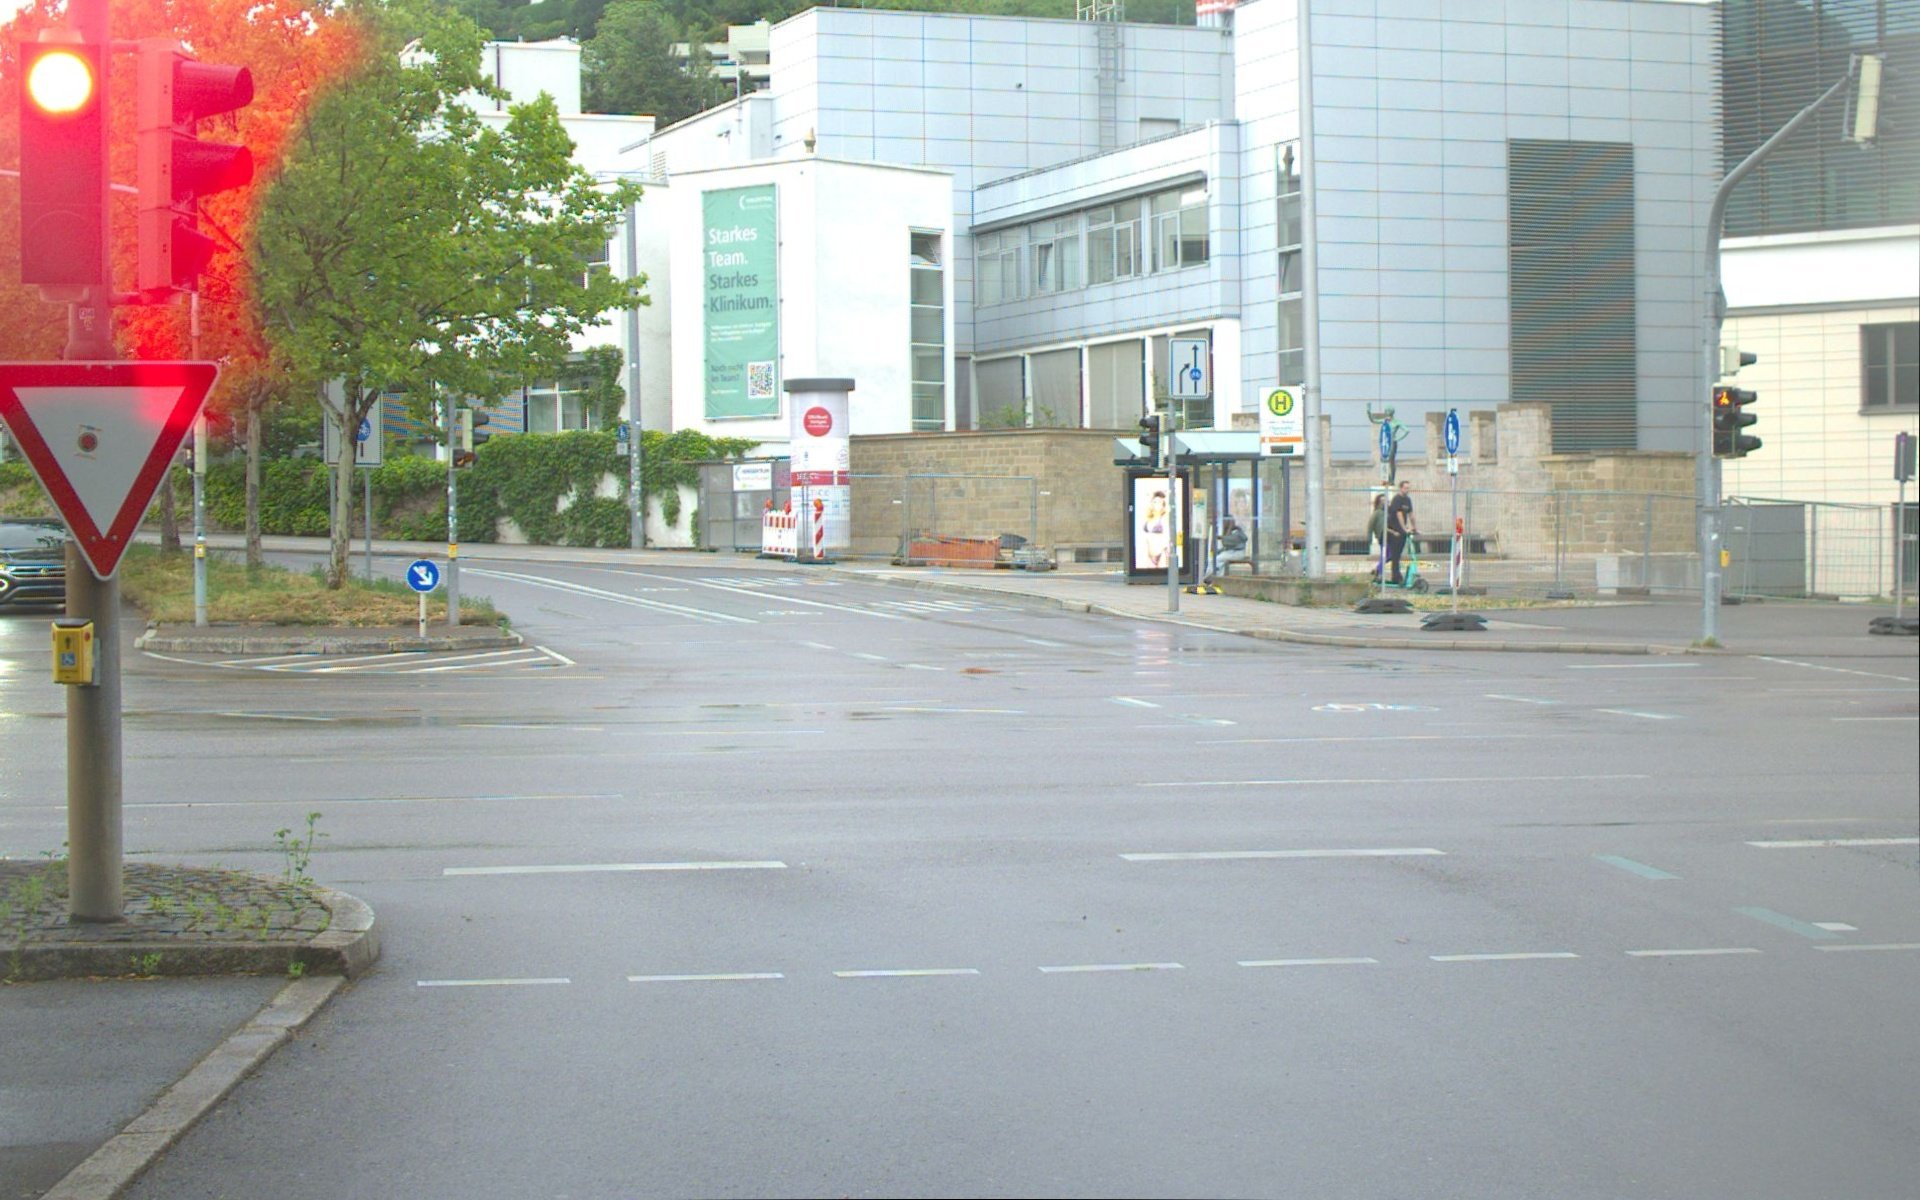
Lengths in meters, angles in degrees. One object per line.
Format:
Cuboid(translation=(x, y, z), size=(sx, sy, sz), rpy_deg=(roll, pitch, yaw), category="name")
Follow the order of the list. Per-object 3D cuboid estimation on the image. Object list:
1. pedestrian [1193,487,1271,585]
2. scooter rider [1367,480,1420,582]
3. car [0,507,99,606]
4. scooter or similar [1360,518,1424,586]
Cuboid(translation=(4.867, -1.144, 61.569), size=(1.257, 1.713, 1.016), rpy_deg=(1, 0, -2), category="pedestrian")
Cuboid(translation=(8.051, -1.274, 63.852), size=(0.723, 1.877, 0.632), rpy_deg=(1, 0, -20), category="scooter rider")
Cuboid(translation=(-15.664, -0.756, 57.713), size=(1.788, 1.579, 4.001), rpy_deg=(-1, 2, -22), category="car")
Cuboid(translation=(8.022, -0.881, 63.907), size=(0.591, 1.234, 1.314), rpy_deg=(1, 0, -22), category="scooter or similar")
